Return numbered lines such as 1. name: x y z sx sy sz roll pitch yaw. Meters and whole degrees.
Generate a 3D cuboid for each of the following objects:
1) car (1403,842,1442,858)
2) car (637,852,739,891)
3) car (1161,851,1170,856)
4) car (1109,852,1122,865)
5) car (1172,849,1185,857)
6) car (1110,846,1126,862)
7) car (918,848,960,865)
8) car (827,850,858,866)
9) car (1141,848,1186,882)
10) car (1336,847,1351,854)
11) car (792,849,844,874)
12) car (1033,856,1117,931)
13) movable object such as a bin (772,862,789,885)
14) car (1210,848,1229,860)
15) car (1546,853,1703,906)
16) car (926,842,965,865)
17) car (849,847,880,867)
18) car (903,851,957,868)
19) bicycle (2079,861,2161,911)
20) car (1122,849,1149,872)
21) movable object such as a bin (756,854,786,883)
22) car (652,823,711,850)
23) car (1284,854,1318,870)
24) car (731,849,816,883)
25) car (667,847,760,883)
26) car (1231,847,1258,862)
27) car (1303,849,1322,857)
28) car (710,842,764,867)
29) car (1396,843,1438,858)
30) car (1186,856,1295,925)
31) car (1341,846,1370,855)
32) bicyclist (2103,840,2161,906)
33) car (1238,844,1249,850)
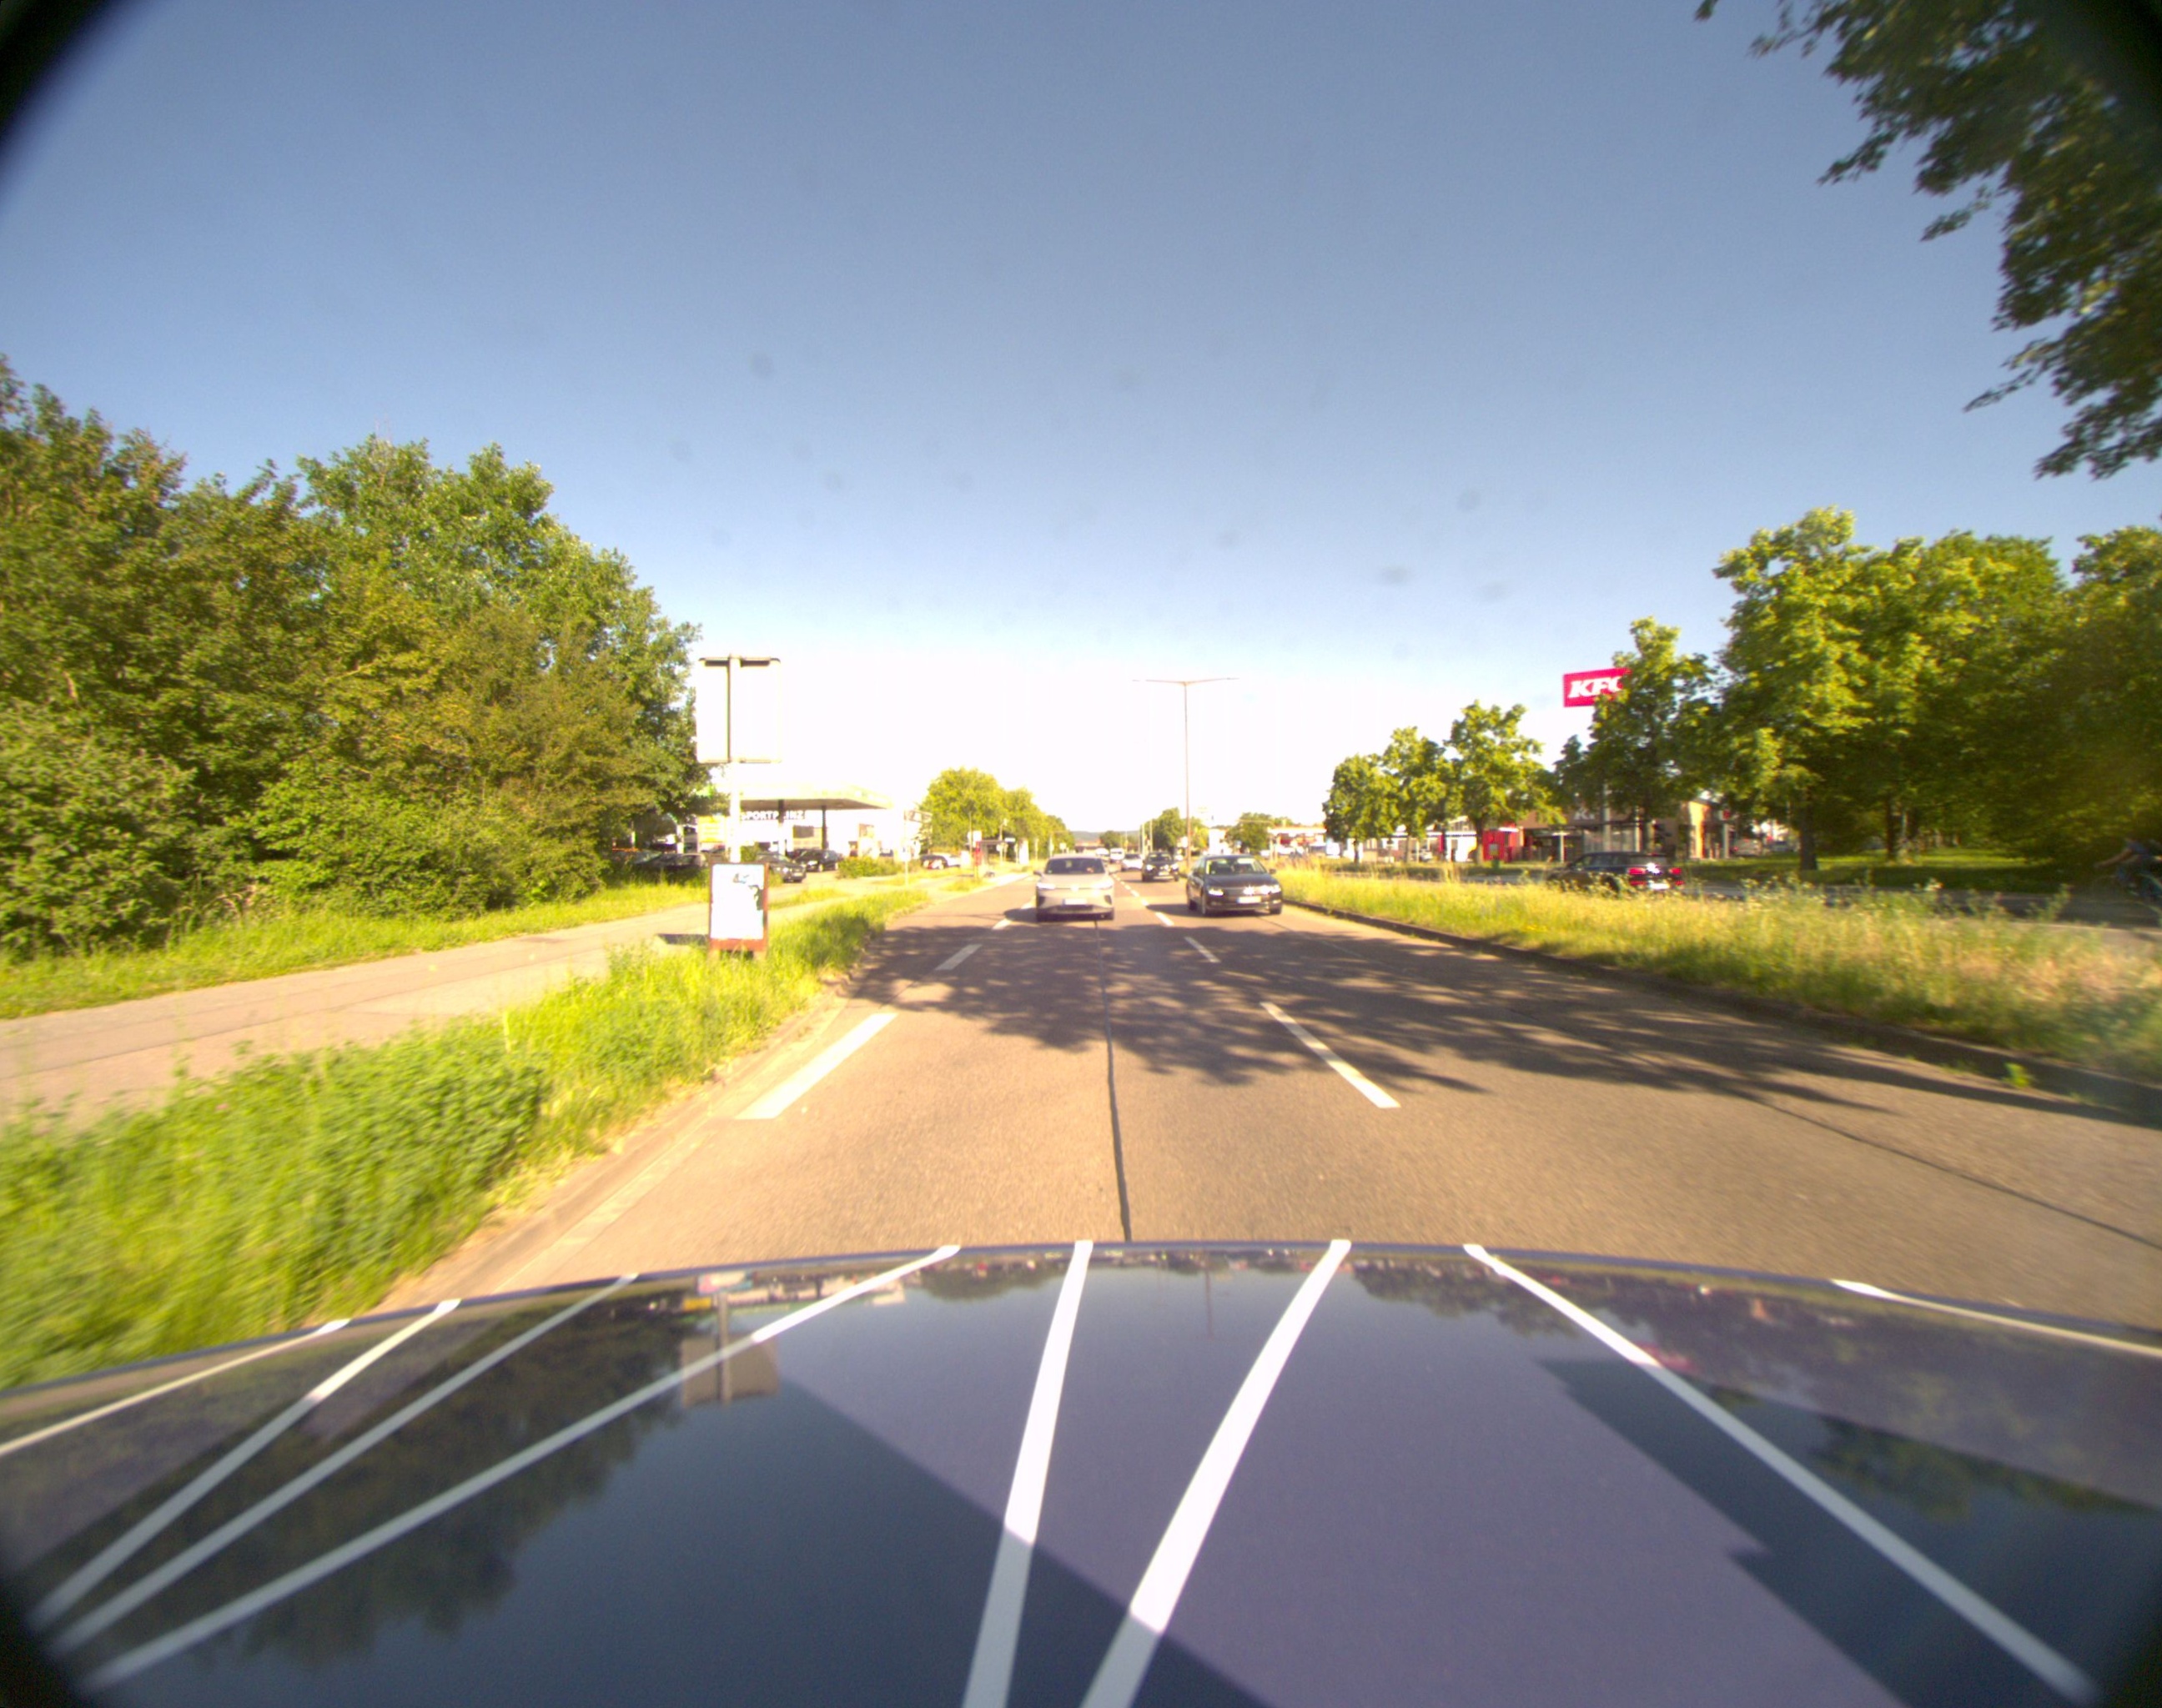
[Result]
1. car: 41.649 -0.492 92.734 1.851 1.840 3.820 -3 1 -39
2. car: -16.486 0.723 32.004 3.292 1.477 1.772 -2 1 2
3. car: 23.532 -0.139 211.649 1.998 1.368 4.623 -1 1 1
4. car: 5.722 0.732 126.181 1.998 2.002 4.000 -2 1 1
5. car: 18.619 -0.201 145.224 1.998 1.674 4.177 0 1 1
6. car: 5.447 -0.029 112.432 2.089 2.229 4.000 -2 1 1
7. car: -15.044 0.259 80.411 3.924 1.444 1.727 6 1 12
8. car: -23.590 0.391 75.337 1.771 1.245 4.214 4 3 -1
9. car: 4.442 0.547 41.483 1.998 1.674 4.696 -2 0 1
10. car: 58.380 -0.735 169.153 1.772 1.432 4.119 0 0 0
11. car: -17.110 0.440 49.551 1.748 1.563 4.249 0 0 2
12. car: -0.082 0.895 19.325 1.848 1.615 4.265 -2 0 2
13. movable object such as a bin: -14.365 0.932 36.322 0.583 1.068 0.508 -2 0 -41
14. car: 17.398 -0.069 95.858 1.645 1.442 4.111 1 1 1
15. car: 16.176 0.702 22.909 1.821 1.434 4.089 0 1 1
16. car: -14.861 -0.035 83.484 3.986 2.002 1.690 7 1 33
17. car: -21.363 0.258 75.263 1.898 1.850 4.215 2 1 -1
18. car: -14.492 0.581 73.222 1.895 1.522 4.847 2 0 44
19. bicycle: 23.345 0.694 16.655 0.685 1.024 1.714 -2 1 1
20. car: 4.569 0.520 63.881 1.998 1.779 4.270 -2 1 1
21. movable object such as a bin: -15.364 0.711 37.658 0.991 1.420 1.257 -2 0 -42
22. car: -27.193 -1.190 51.831 1.923 1.745 3.778 0 1 2
23. car: 20.860 0.716 72.153 1.919 1.446 4.489 1 1 1
24. car: -16.333 0.588 40.305 4.547 1.630 1.805 2 1 30
25. car: -16.477 0.478 34.161 3.292 1.409 1.728 -2 1 2
26. car: 16.912 0.024 78.727 1.822 1.426 4.630 1 1 1
27. car: 39.185 -0.128 128.472 1.900 1.317 4.119 0 1 0
28. car: -29.550 0.037 65.400 3.700 1.896 1.924 -2 1 1
29. car: 39.209 -0.421 88.711 1.899 1.652 4.122 -3 1 -42
30. car: 3.795 0.804 18.788 1.848 1.445 4.265 -2 0 2
31. car: 44.381 -0.546 122.921 4.116 1.424 1.901 0 1 1
32. bicyclist: 23.333 0.398 16.576 0.682 1.394 1.026 -2 1 1
33. car: 40.783 -1.723 190.697 1.762 1.604 4.119 0 1 0
